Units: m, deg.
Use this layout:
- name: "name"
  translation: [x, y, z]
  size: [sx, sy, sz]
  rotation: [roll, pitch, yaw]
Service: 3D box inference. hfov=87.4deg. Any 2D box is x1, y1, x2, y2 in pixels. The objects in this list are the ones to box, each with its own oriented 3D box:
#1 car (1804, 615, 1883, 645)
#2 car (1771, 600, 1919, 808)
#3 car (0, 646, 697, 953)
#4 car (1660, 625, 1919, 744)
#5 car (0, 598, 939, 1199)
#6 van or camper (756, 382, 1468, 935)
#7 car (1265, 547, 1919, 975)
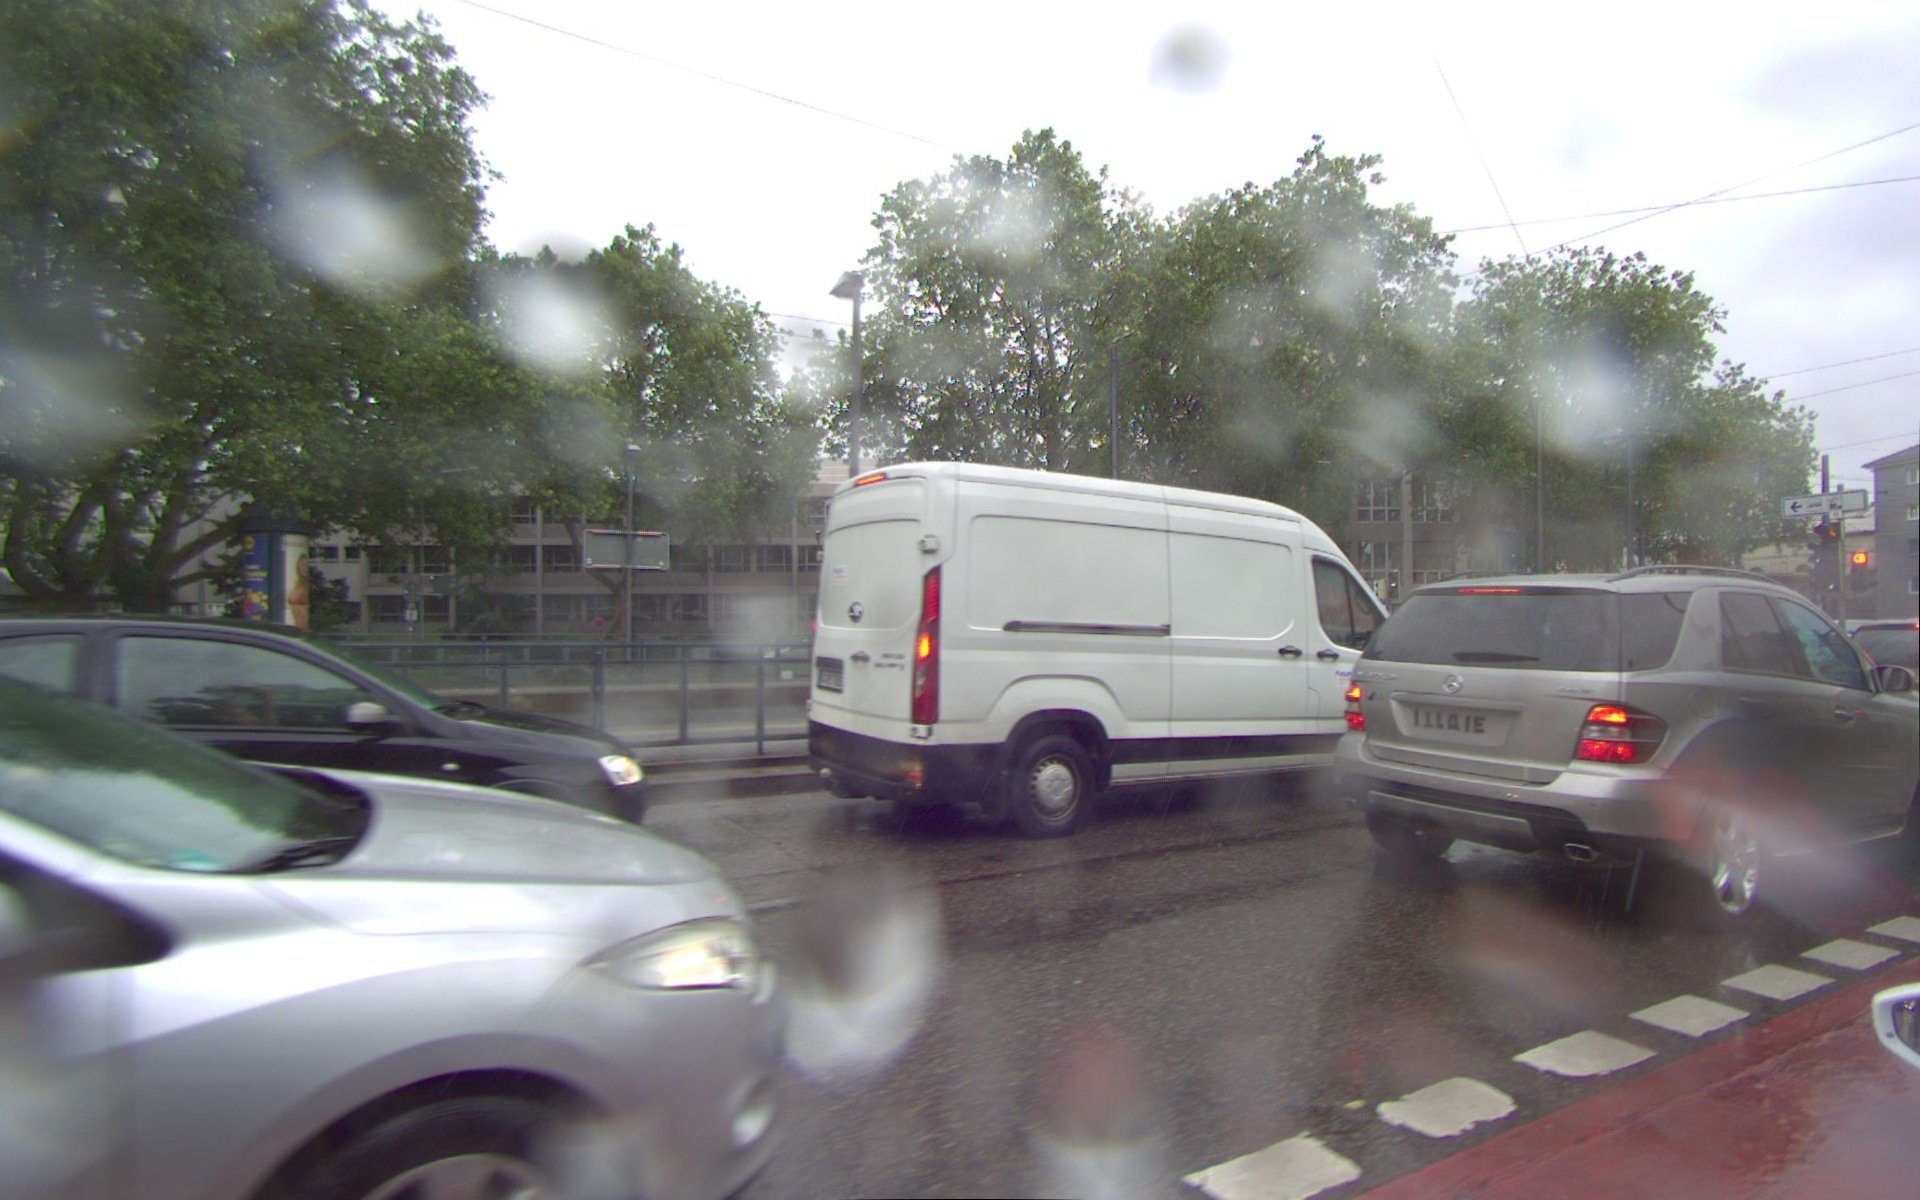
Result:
- name: "car"
  translation: [69.202, 2.300, 78.721]
  size: [4.697, 2.228, 1.998]
  rotation: [0, 1, -6]
- name: "car"
  translation: [9.580, 0.900, 9.323]
  size: [4.123, 1.690, 1.826]
  rotation: [1, 0, -30]
- name: "car"
  translation: [-3.505, 0.827, 4.928]
  size: [4.041, 1.132, 1.455]
  rotation: [2, 0, -31]
- name: "car"
  translation: [12.448, 1.176, 14.911]
  size: [3.952, 1.504, 1.836]
  rotation: [1, 0, -29]
- name: "car"
  translation: [-2.193, 0.749, 1.922]
  size: [3.955, 1.497, 1.759]
  rotation: [1, 0, -31]
- name: "van or camper"
  translation: [1.471, 0.410, 8.245]
  size: [5.786, 3.183, 2.147]
  rotation: [1, -1, -32]
- name: "car"
  translation: [4.201, 0.747, 6.237]
  size: [4.411, 1.793, 2.015]
  rotation: [1, -2, -31]
